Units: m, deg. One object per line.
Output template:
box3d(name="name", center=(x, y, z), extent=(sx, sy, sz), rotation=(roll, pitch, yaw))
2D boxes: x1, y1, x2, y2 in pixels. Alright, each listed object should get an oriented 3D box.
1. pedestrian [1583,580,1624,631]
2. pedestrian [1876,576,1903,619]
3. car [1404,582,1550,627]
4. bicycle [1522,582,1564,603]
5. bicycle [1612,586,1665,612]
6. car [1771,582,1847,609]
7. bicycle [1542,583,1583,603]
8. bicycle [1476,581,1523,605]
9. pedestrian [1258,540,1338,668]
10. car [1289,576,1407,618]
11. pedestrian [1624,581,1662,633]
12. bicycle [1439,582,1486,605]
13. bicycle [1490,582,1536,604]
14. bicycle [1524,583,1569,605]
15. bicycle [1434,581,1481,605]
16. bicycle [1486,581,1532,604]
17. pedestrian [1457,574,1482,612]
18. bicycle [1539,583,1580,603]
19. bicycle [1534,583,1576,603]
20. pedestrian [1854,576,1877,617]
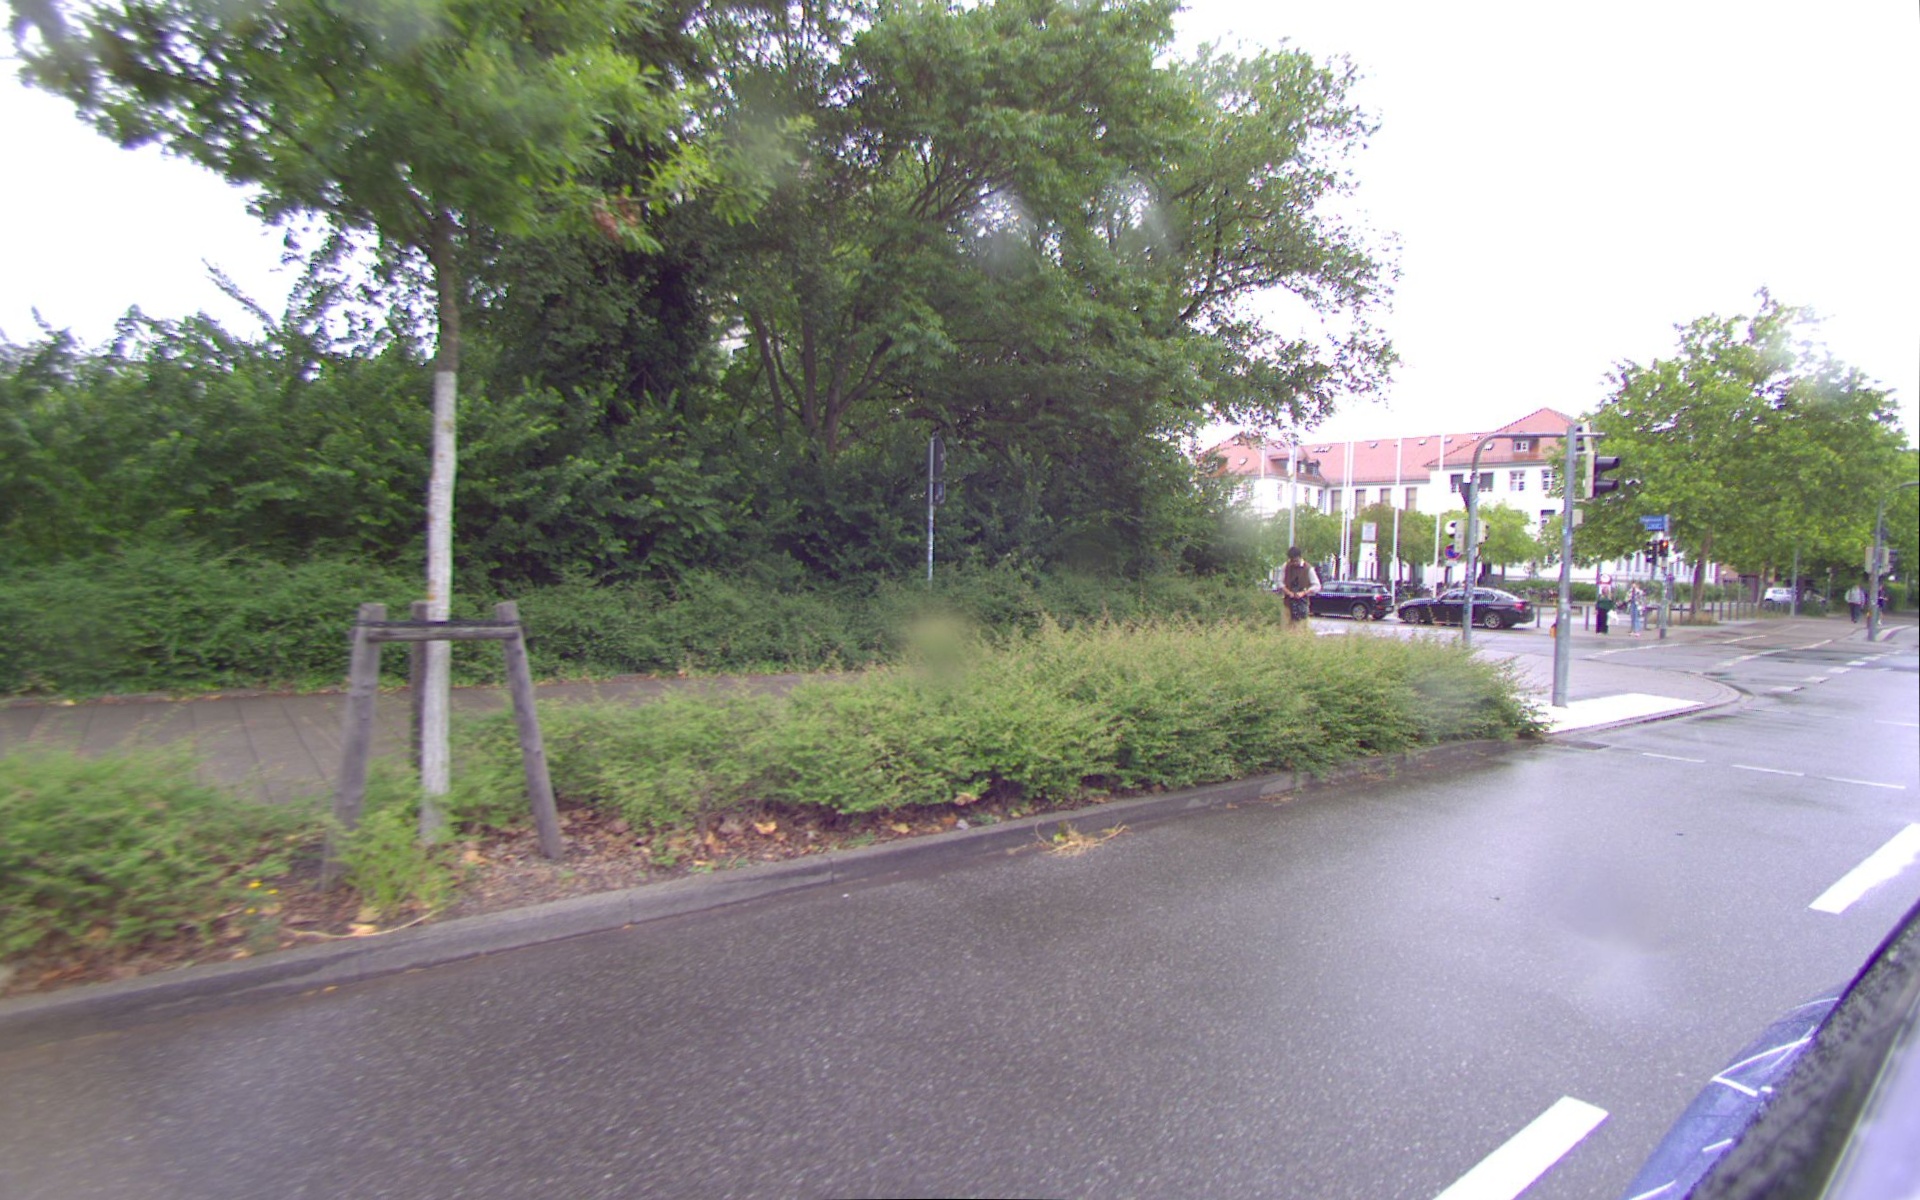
box3d(name="pedestrian", center=(21.526, 0.163, 33.870), extent=(0.865, 1.627, 0.859), rotation=(2, 2, 17))
box3d(name="pedestrian", center=(41.554, -0.116, 45.236), extent=(0.619, 1.847, 0.779), rotation=(3, 2, 28))
box3d(name="car", center=(18.681, 0.117, 36.735), extent=(1.744, 1.353, 4.381), rotation=(-3, 5, -43))
box3d(name="bicycle", center=(37.696, -0.473, 65.441), extent=(2.274, 1.237, 0.591), rotation=(3, 2, 38))
box3d(name="bicycle", center=(35.889, -0.078, 53.558), extent=(2.274, 1.237, 0.591), rotation=(3, 2, 38))
box3d(name="car", center=(65.721, -0.397, 78.361), extent=(4.412, 1.895, 1.613), rotation=(4, 3, 43))
box3d(name="bicycle", center=(40.430, -0.478, 67.942), extent=(2.274, 1.237, 0.591), rotation=(3, 2, 38))
box3d(name="bicycle", center=(31.007, -0.419, 58.226), extent=(2.274, 1.237, 0.591), rotation=(3, 2, 38))
box3d(name="pedestrian", center=(5.125, 0.045, 15.343), extent=(0.834, 1.882, 0.732), rotation=(1, 2, -34))
box3d(name="car", center=(15.309, -0.149, 40.096), extent=(1.743, 1.394, 4.011), rotation=(-3, 5, -41))
box3d(name="pedestrian", center=(22.393, 0.222, 33.200), extent=(0.869, 1.627, 0.855), rotation=(3, 2, 28))
box3d(name="bicycle", center=(28.457, -0.375, 57.367), extent=(2.274, 1.237, 0.591), rotation=(3, 2, 38))
box3d(name="bicycle", center=(32.874, -0.431, 60.157), extent=(2.274, 1.237, 0.591), rotation=(3, 2, 38))
box3d(name="bicycle", center=(35.662, -0.393, 61.579), extent=(2.274, 1.237, 0.591), rotation=(3, 2, 38))
box3d(name="bicycle", center=(27.962, -0.385, 56.917), extent=(2.274, 1.237, 0.591), rotation=(3, 2, 38))
box3d(name="bicycle", center=(32.309, -0.428, 59.598), extent=(2.274, 1.237, 0.591), rotation=(3, 2, 38))
box3d(name="pedestrian", center=(24.472, -0.362, 48.613), extent=(0.838, 1.759, 1.117), rotation=(2, 2, 18))
box3d(name="bicycle", center=(39.741, -0.470, 67.126), extent=(2.274, 1.237, 0.591), rotation=(3, 2, 38))
box3d(name="bicycle", center=(39.058, -0.465, 66.402), extent=(2.274, 1.237, 0.591), rotation=(3, 2, 38))
box3d(name="pedestrian", center=(40.774, -0.166, 45.580), extent=(0.621, 1.847, 0.777), rotation=(3, 2, 36))
